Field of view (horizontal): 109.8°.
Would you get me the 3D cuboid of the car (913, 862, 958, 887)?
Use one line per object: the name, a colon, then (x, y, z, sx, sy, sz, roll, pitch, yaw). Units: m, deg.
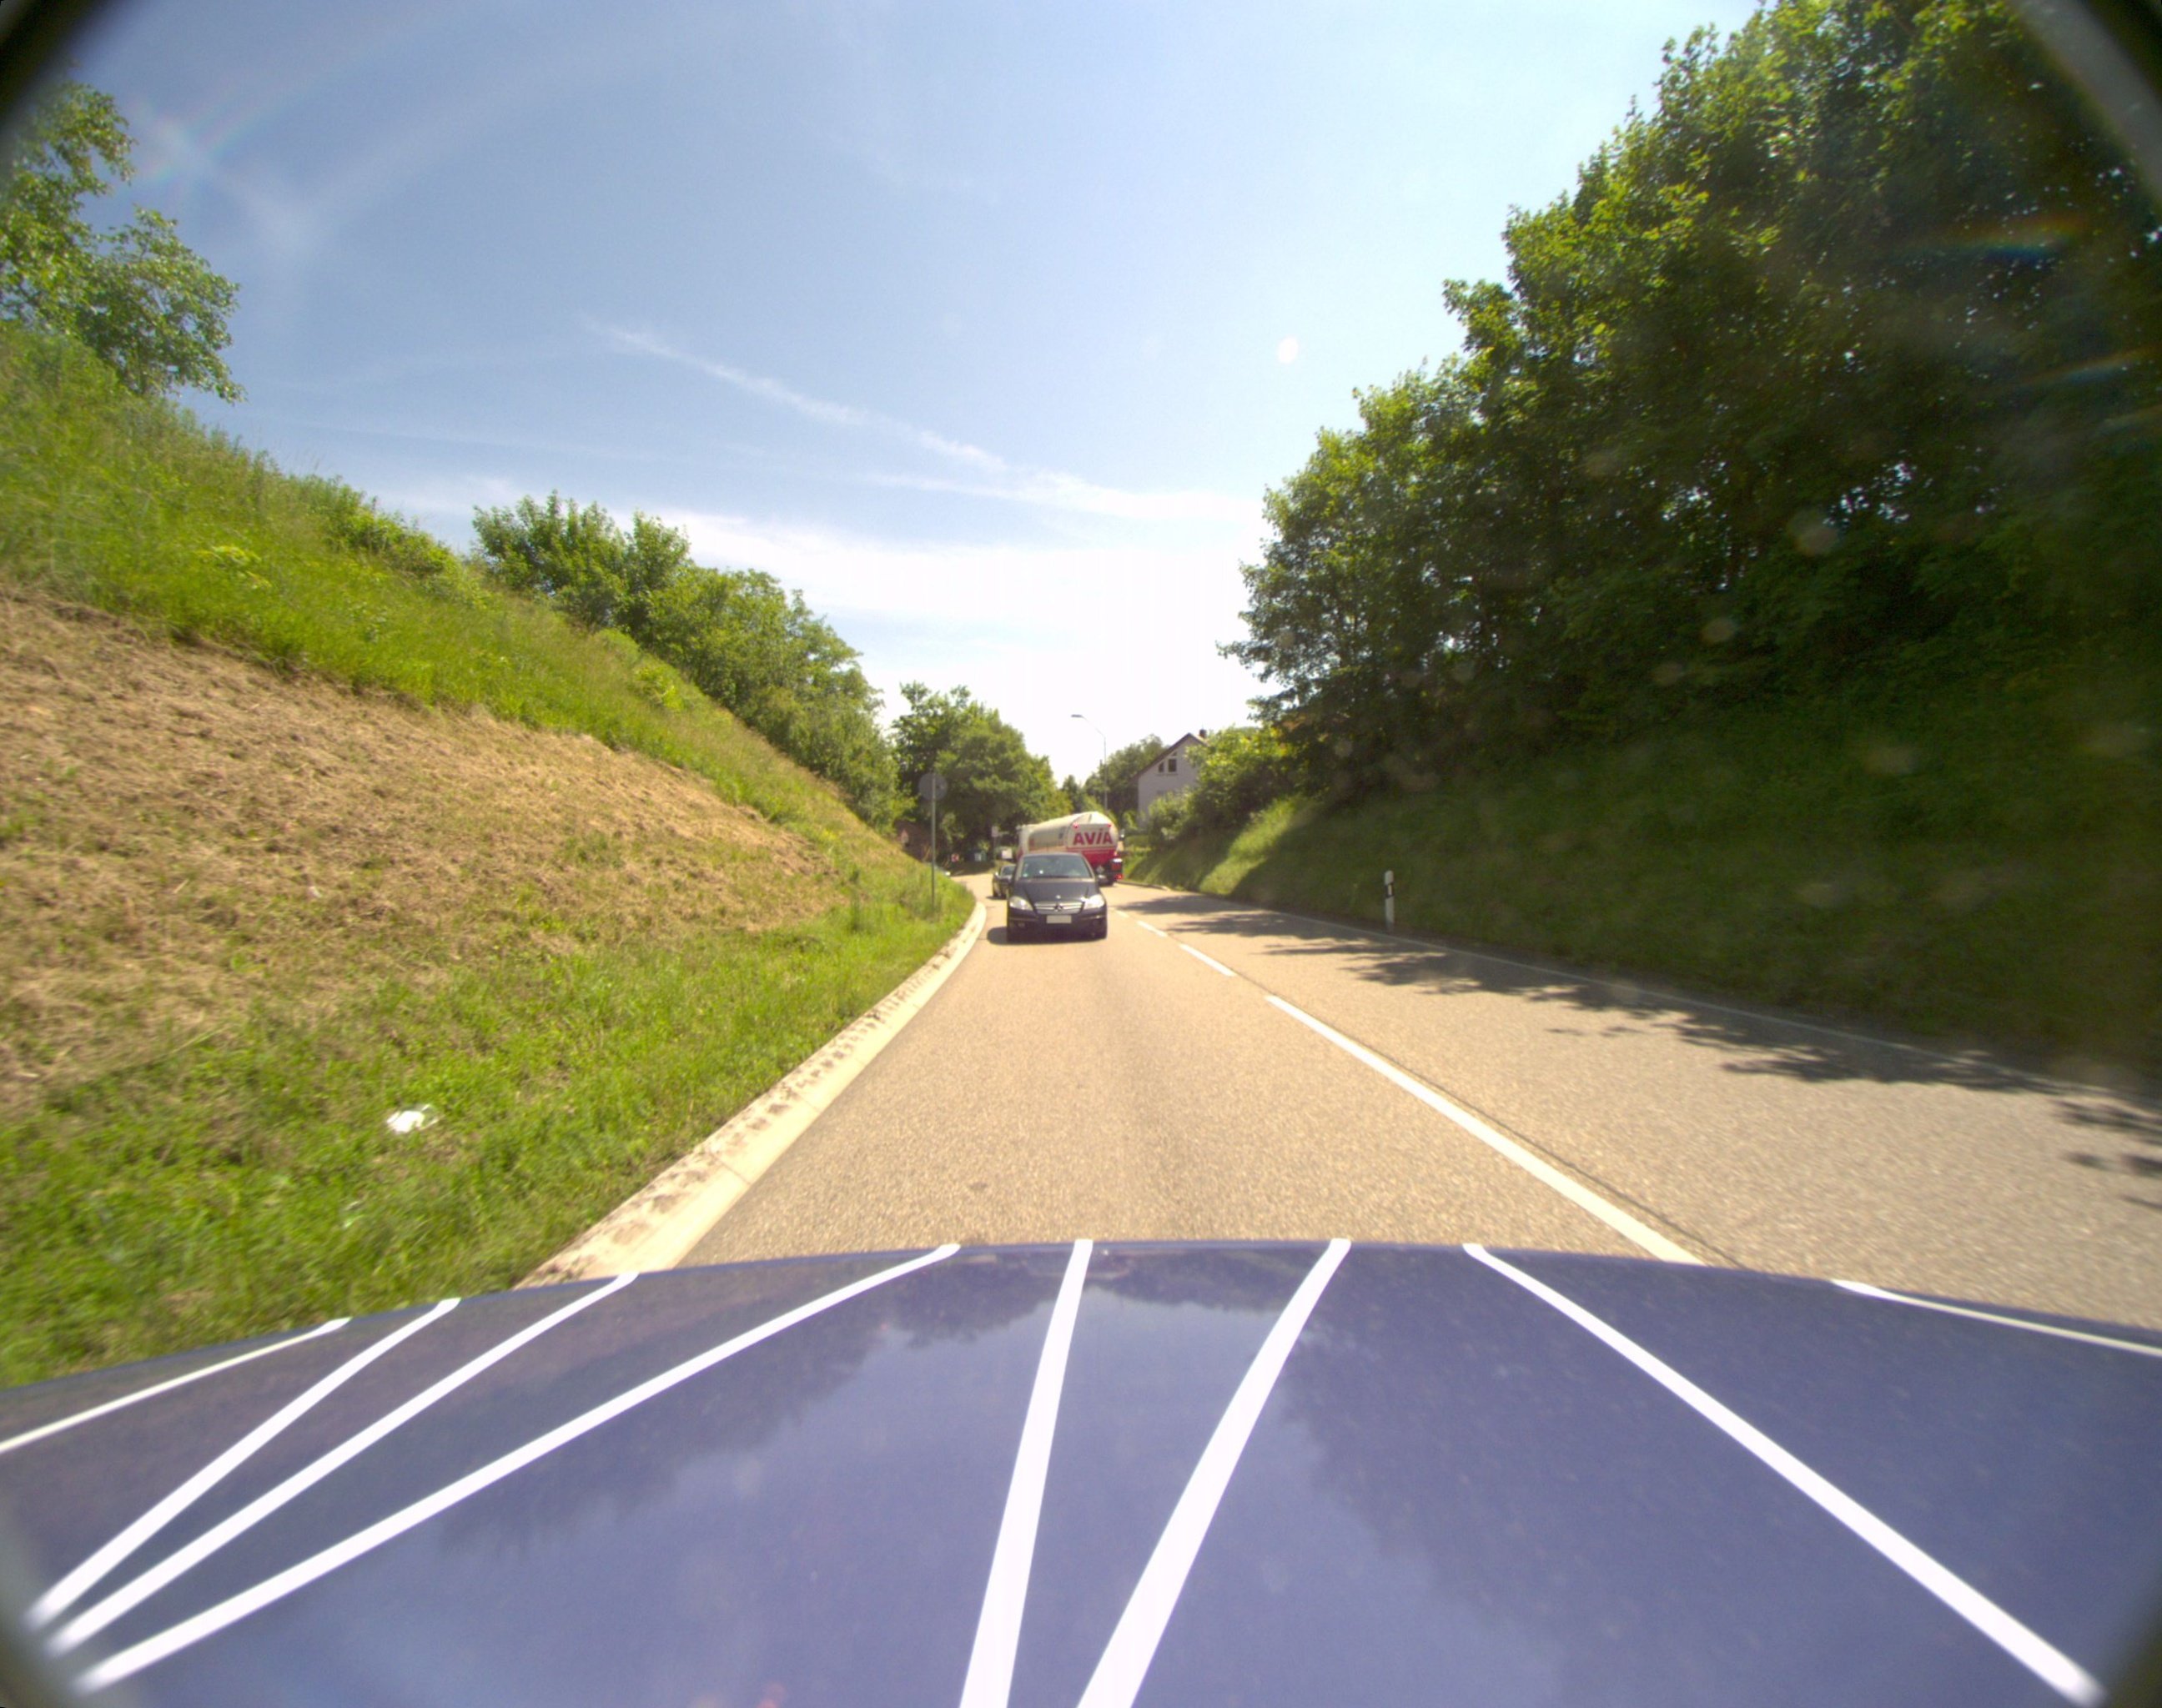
car: (-9.194, 1.268, 47.799, 1.758, 1.281, 4.135, -3, 3, -26)

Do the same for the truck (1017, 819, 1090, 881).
truck: (-1.699, -0.221, 42.996, 2.636, 3.152, 7.058, -2, 1, -14)

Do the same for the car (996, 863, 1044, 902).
car: (-2.259, 1.040, 28.521, 1.648, 1.314, 3.437, 2, -1, -4)

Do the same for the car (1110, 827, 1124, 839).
car: (5.022, -2.913, 105.583, 1.749, 1.382, 3.997, -3, 4, 1)

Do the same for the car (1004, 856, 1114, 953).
car: (-0.524, 0.858, 14.753, 1.796, 1.570, 3.798, -2, 0, -5)

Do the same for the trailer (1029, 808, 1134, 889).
trailer: (-0.330, -0.266, 37.356, 2.642, 3.353, 11.128, -2, 1, -13)
